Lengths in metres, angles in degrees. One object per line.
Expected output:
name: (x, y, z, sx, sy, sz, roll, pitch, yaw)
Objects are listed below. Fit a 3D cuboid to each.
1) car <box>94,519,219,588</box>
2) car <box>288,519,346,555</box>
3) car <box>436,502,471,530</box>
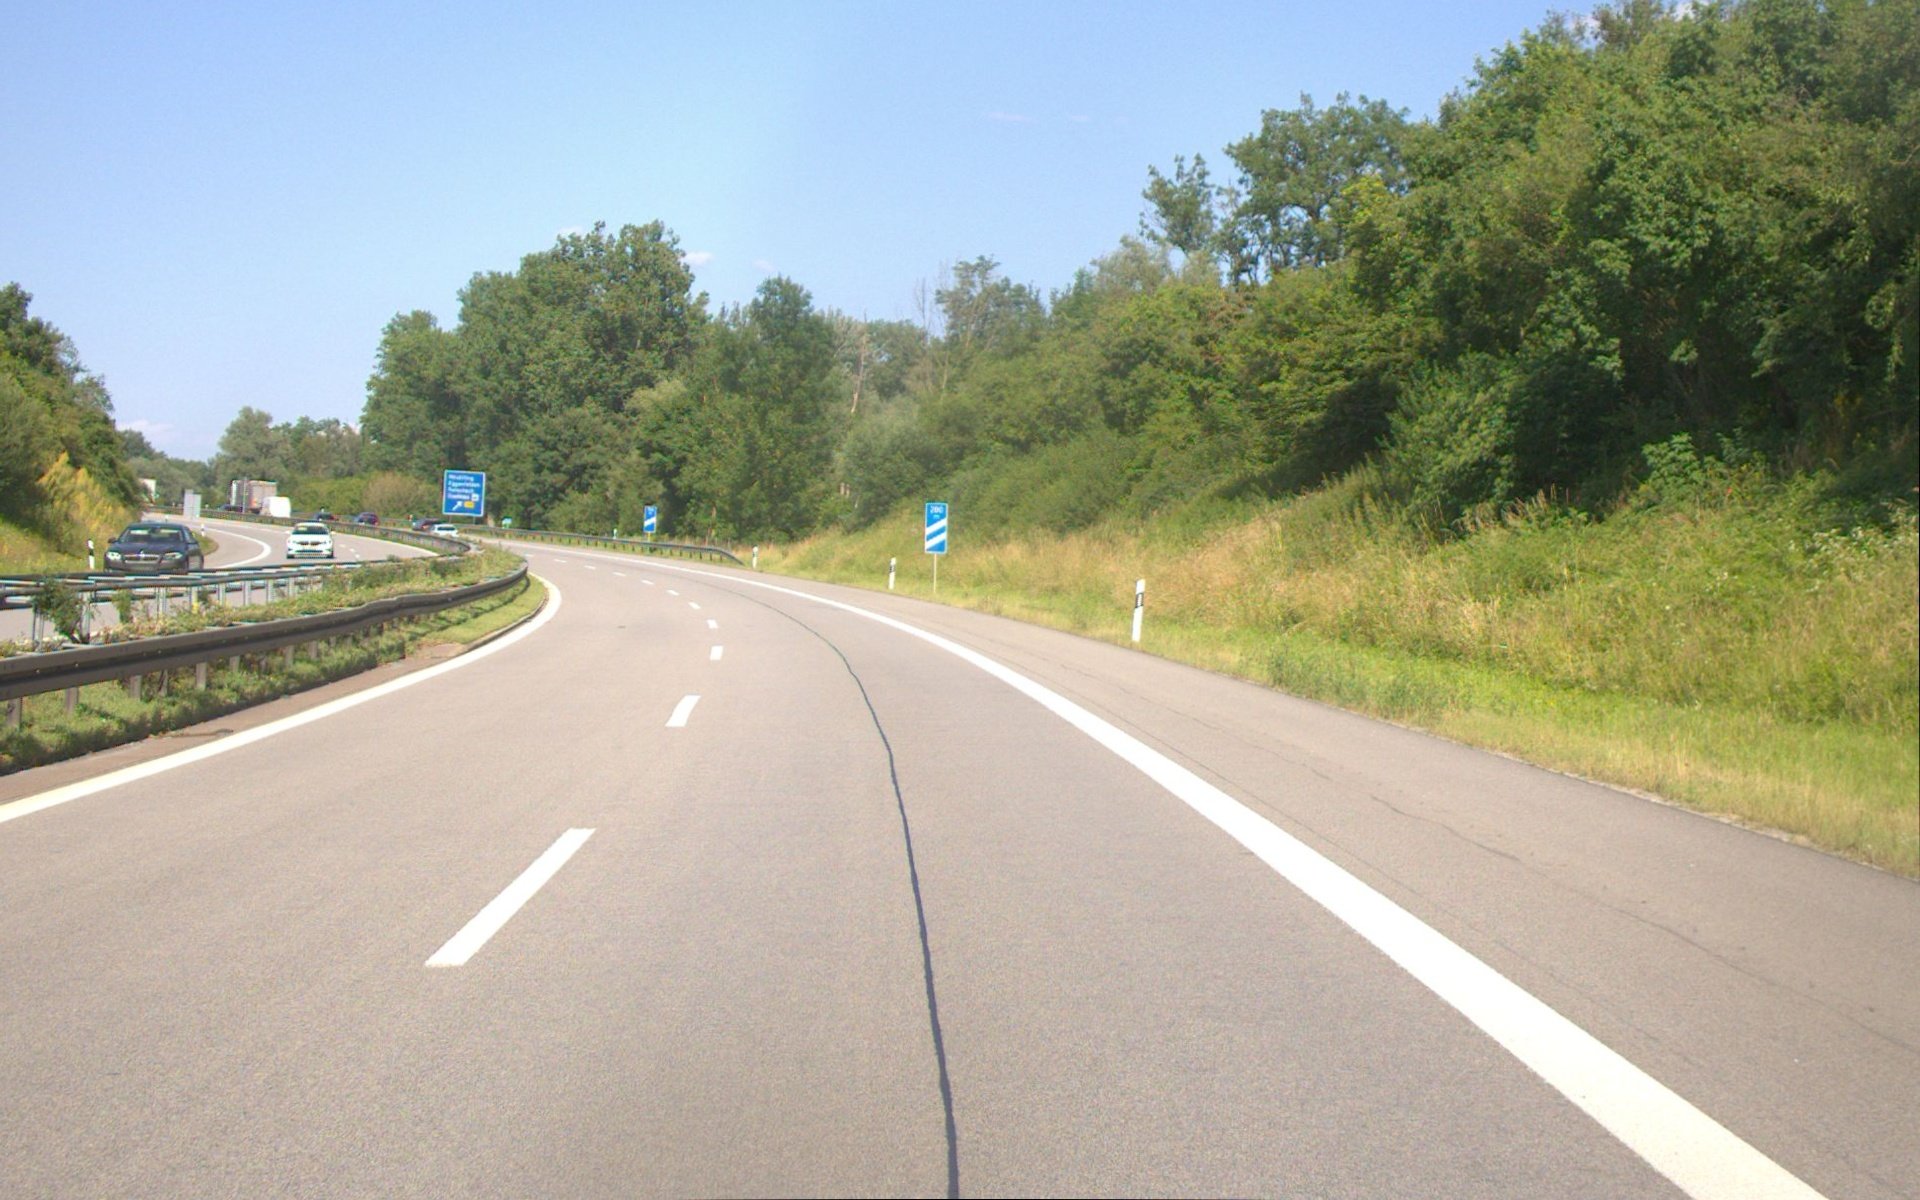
car: (-18.790, -1.105, 80.599, 1.967, 1.559, 5.174, 0, 1, -3)
car: (-26.053, -2.553, 139.333, 1.899, 1.417, 4.399, 0, 2, -5)
car: (-32.206, -5.322, 218.600, 2.061, 1.619, 4.001, 1, -1, -10)
